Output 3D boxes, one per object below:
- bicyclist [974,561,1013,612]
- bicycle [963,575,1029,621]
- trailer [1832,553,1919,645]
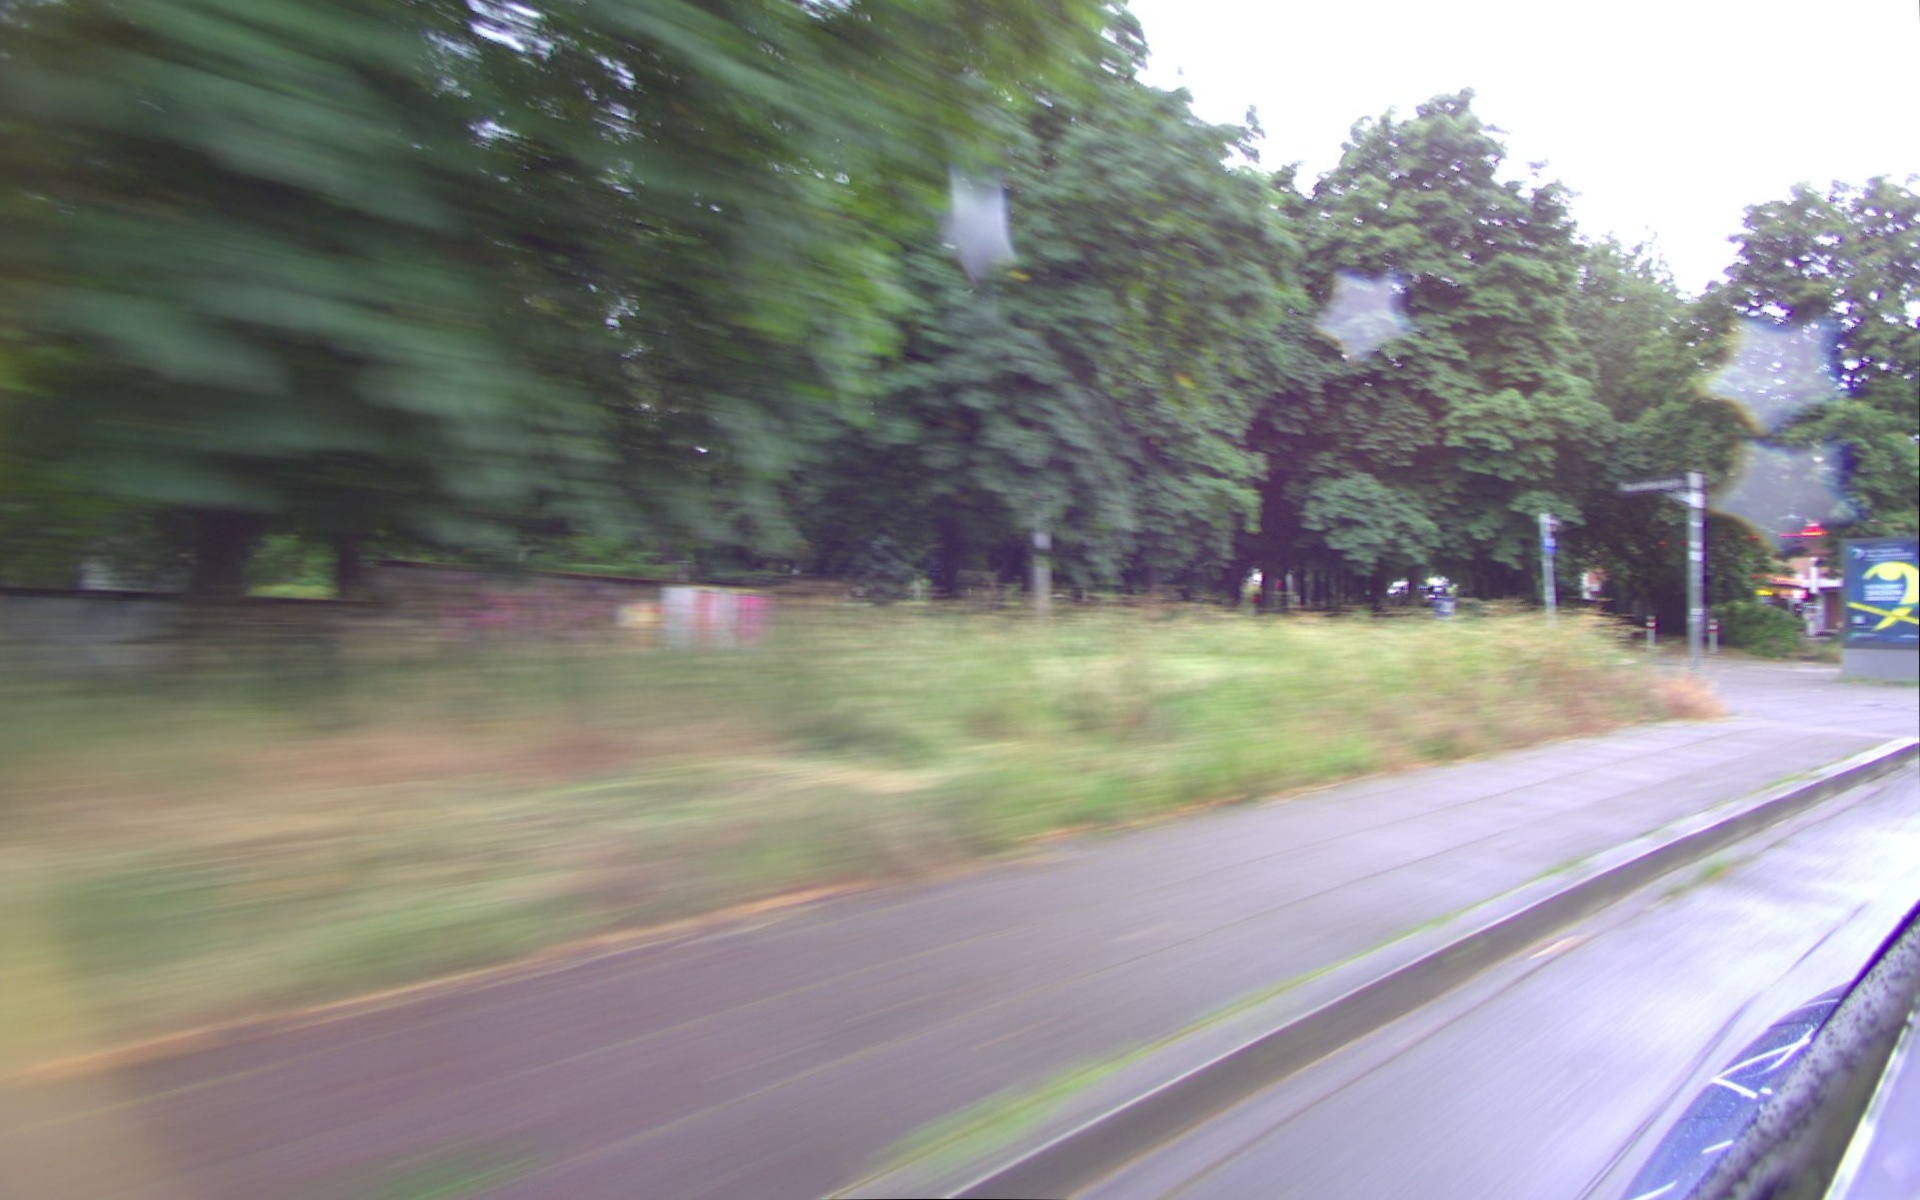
[{"bbox_3d":[0.862,-0.347,26.273,0.796,1.311,0.586,0,-2,39],"label":"bicyclist"},{"bbox_3d":[0.919,-0.057,26.040,1.704,1.154,0.617,1,0,41],"label":"bicycle"},{"bbox_3d":[37.038,-0.029,37.489,2.770,3.438,9.800,0,1,12],"label":"trailer"}]
